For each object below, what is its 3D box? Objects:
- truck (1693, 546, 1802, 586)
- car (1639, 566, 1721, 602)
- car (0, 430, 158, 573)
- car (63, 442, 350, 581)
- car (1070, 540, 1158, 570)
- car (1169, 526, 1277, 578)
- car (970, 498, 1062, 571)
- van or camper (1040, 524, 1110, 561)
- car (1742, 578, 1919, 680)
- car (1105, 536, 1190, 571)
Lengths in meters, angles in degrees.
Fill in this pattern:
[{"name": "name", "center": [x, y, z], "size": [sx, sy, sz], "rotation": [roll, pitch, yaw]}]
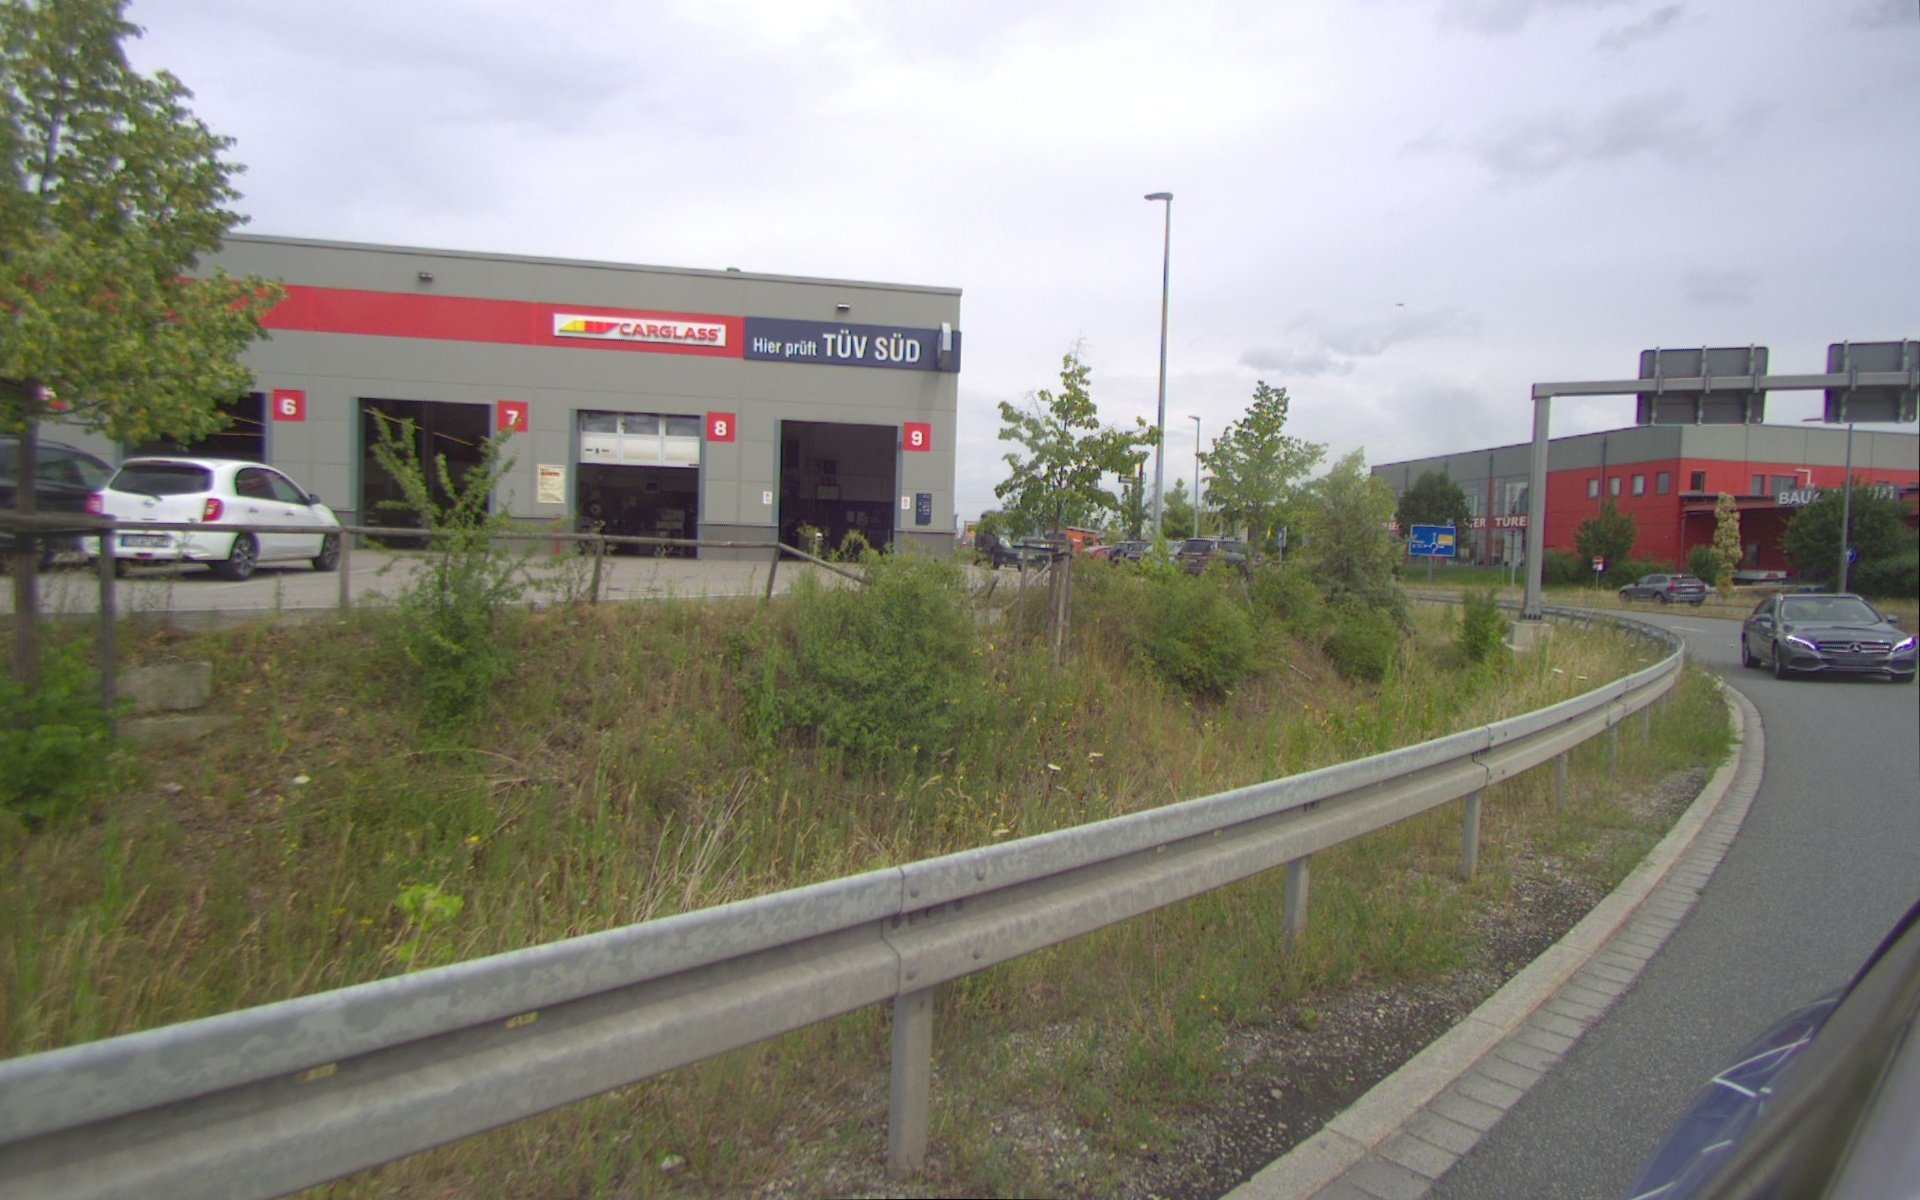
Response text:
[{"name": "truck", "center": [52.509, -2.304, 67.668], "size": [1.998, 2.517, 5.919], "rotation": [0, 3, -8]}, {"name": "car", "center": [35.500, -0.805, 50.042], "size": [1.789, 1.650, 4.665], "rotation": [-1, 1, 15]}, {"name": "car", "center": [-12.230, -1.261, 12.910], "size": [1.696, 1.654, 3.454], "rotation": [2, 4, -10]}, {"name": "car", "center": [-9.927, -1.177, 13.702], "size": [1.610, 1.556, 3.637], "rotation": [2, 4, -9]}, {"name": "car", "center": [7.932, -2.317, 52.100], "size": [4.500, 1.417, 1.705], "rotation": [-1, 4, -34]}, {"name": "car", "center": [9.815, -1.796, 37.660], "size": [4.096, 1.804, 1.803], "rotation": [-3, 2, -39]}, {"name": "car", "center": [1.543, -1.870, 29.347], "size": [1.670, 1.833, 3.979], "rotation": [4, 2, -10]}, {"name": "van or camper", "center": [6.610, -3.246, 57.836], "size": [1.805, 2.022, 4.610], "rotation": [2, 2, 40]}, {"name": "car", "center": [15.572, 0.438, 18.089], "size": [1.891, 1.516, 4.294], "rotation": [-2, 1, 30]}, {"name": "car", "center": [8.608, -2.106, 46.456], "size": [3.722, 1.537, 1.693], "rotation": [-1, 3, -34]}]
